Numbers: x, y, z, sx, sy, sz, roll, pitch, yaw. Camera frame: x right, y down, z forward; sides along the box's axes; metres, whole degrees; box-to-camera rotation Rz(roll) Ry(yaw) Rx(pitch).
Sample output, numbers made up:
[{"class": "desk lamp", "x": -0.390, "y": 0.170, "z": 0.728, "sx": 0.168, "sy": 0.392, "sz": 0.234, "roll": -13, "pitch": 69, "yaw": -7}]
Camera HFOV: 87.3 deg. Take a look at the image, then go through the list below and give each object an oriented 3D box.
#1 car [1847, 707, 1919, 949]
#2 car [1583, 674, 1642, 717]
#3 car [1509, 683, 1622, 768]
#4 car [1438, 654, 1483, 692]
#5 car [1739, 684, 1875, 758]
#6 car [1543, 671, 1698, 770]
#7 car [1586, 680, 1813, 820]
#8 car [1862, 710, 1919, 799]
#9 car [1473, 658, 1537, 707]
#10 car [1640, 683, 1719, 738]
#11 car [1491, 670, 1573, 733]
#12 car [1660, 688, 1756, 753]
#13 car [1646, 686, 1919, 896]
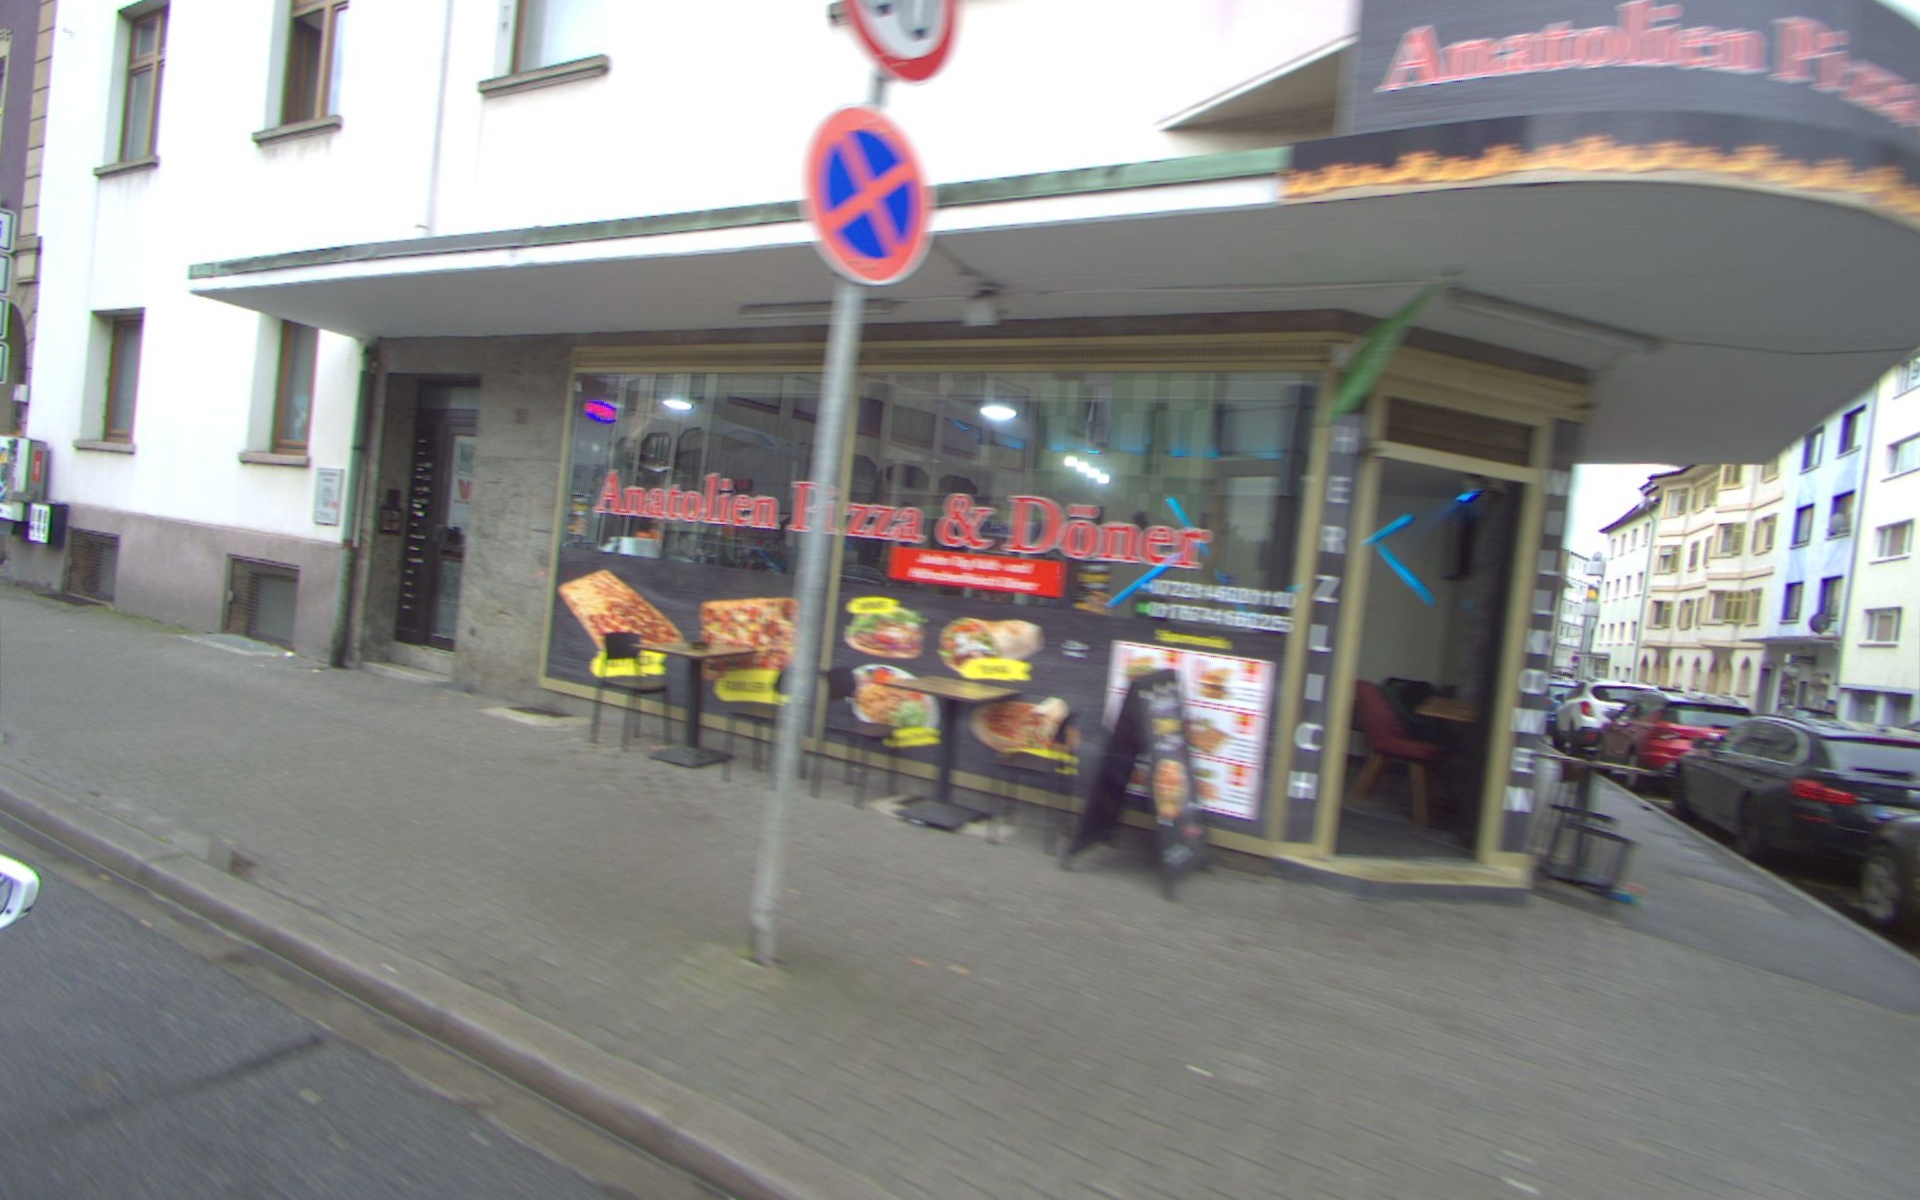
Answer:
[{"class": "car", "x": 7.218, "y": 1.656, "z": 5.812, "sx": 1.773, "sy": 1.627, "sz": 4.117, "roll": 6, "pitch": 0, "yaw": 23}, {"class": "car", "x": 37.442, "y": 5.456, "z": 57.843, "sx": 1.964, "sy": 2.039, "sz": 3.997, "roll": 7, "pitch": 0, "yaw": 23}, {"class": "car", "x": 16.326, "y": 3.318, "z": 27.324, "sx": 1.875, "sy": 1.761, "sz": 3.900, "roll": 7, "pitch": 0, "yaw": 23}, {"class": "car", "x": 31.887, "y": 4.630, "z": 64.176, "sx": 1.963, "sy": 2.039, "sz": 3.999, "roll": 7, "pitch": 0, "yaw": 21}, {"class": "car", "x": 25.465, "y": 3.573, "z": 30.407, "sx": 1.875, "sy": 1.712, "sz": 3.900, "roll": 7, "pitch": 0, "yaw": 23}, {"class": "car", "x": 13.806, "y": 2.445, "z": 21.282, "sx": 1.875, "sy": 1.598, "sz": 3.900, "roll": 7, "pitch": 0, "yaw": 23}, {"class": "car", "x": 11.538, "y": 2.239, "z": 16.038, "sx": 1.875, "sy": 1.598, "sz": 3.900, "roll": 7, "pitch": 0, "yaw": 23}, {"class": "car", "x": 21.086, "y": 3.401, "z": 21.082, "sx": 1.875, "sy": 1.712, "sz": 3.900, "roll": 7, "pitch": 0, "yaw": 23}, {"class": "car", "x": 21.382, "y": 3.207, "z": 39.585, "sx": 1.636, "sy": 1.611, "sz": 3.751, "roll": 7, "pitch": 0, "yaw": 23}, {"class": "car", "x": 32.425, "y": 4.921, "z": 45.455, "sx": 1.875, "sy": 2.015, "sz": 3.900, "roll": 7, "pitch": 0, "yaw": 23}, {"class": "car", "x": 18.103, "y": 3.164, "z": 31.959, "sx": 1.636, "sy": 1.611, "sz": 3.751, "roll": 7, "pitch": 0, "yaw": 23}, {"class": "car", "x": 28.814, "y": 4.583, "z": 38.914, "sx": 1.875, "sy": 2.015, "sz": 3.900, "roll": 7, "pitch": 0, "yaw": 23}, {"class": "car", "x": 9.157, "y": 1.892, "z": 10.847, "sx": 1.838, "sy": 1.552, "sz": 4.631, "roll": 7, "pitch": 0, "yaw": 23}]
